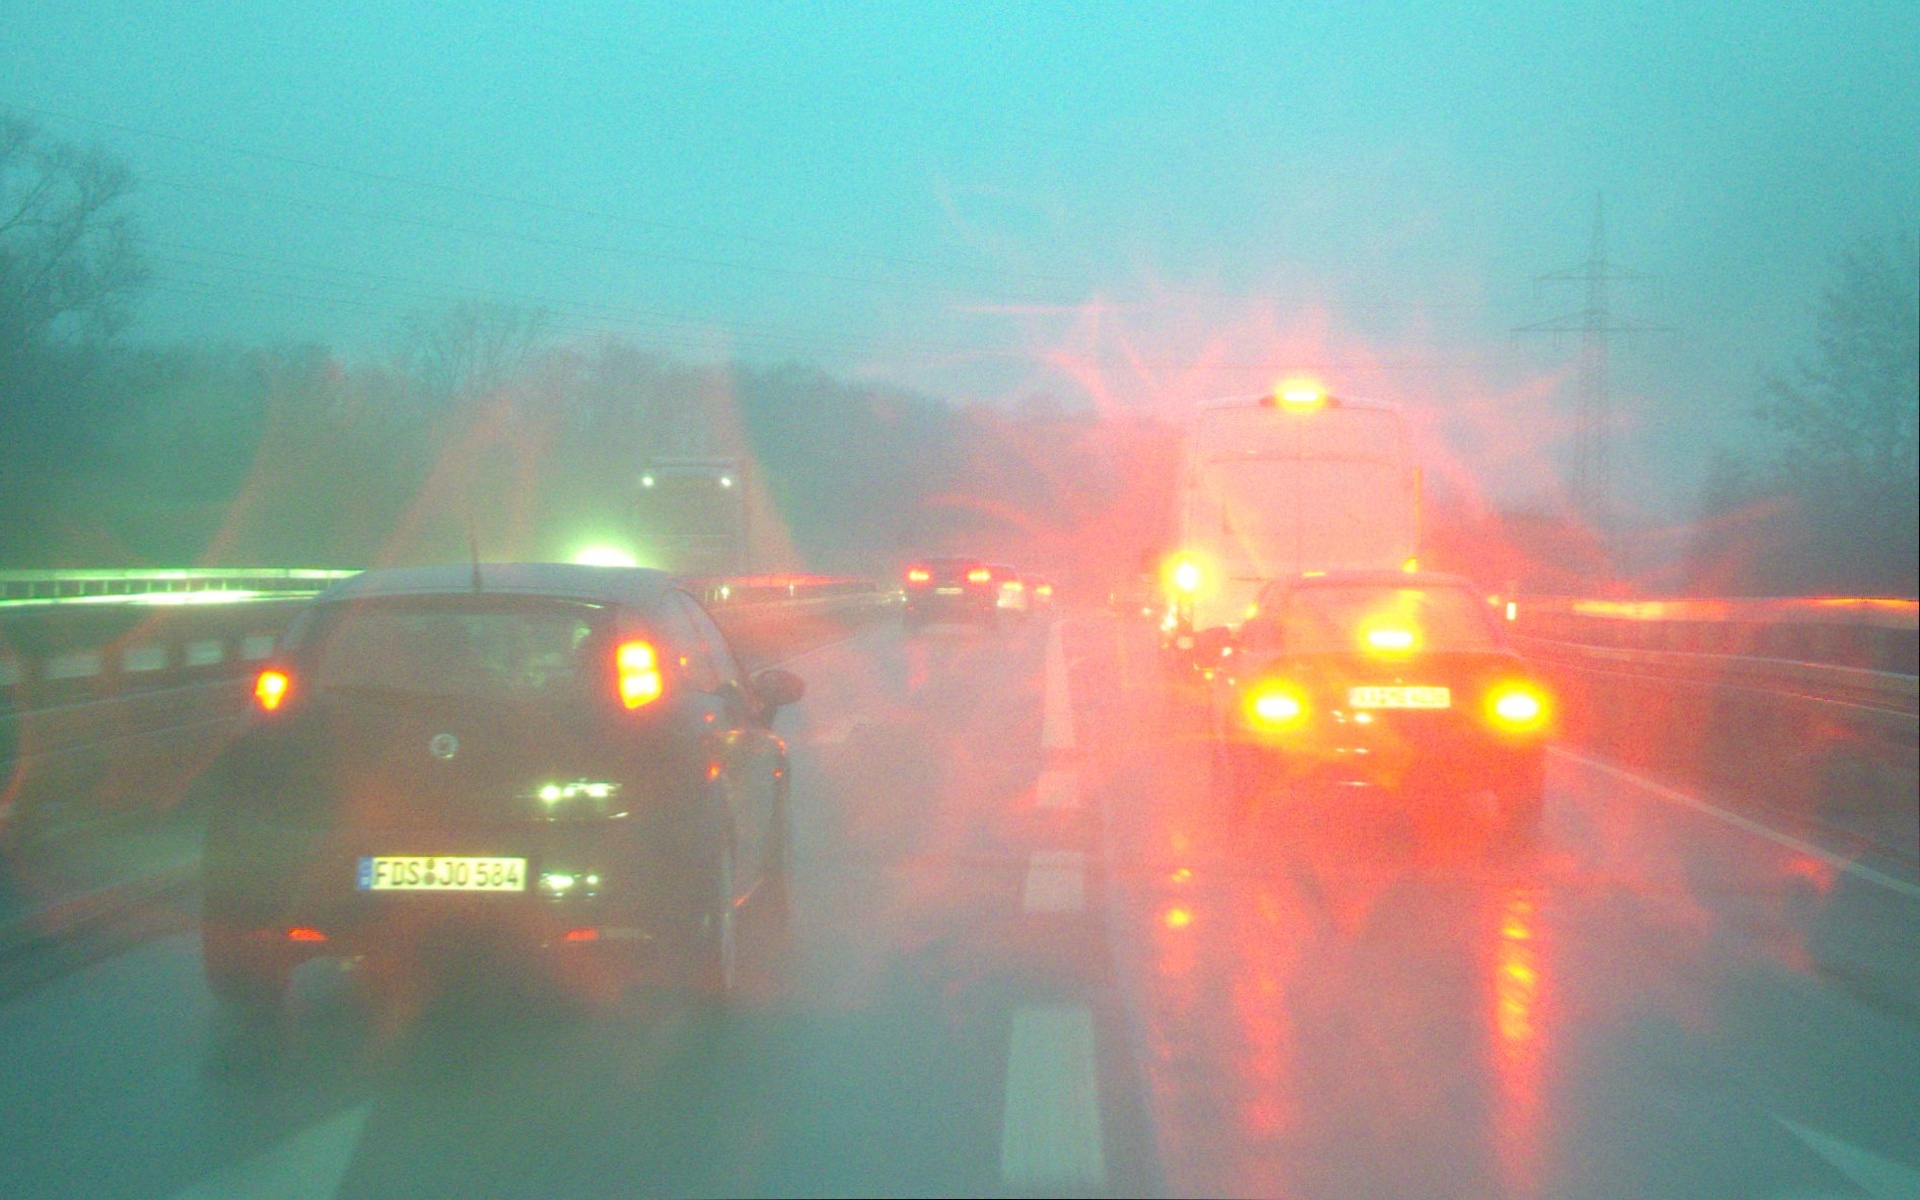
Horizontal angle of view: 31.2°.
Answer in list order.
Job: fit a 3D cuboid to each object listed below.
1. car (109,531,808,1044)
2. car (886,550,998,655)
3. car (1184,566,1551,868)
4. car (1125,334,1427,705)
[{"bbox_3d":[-1.596,0.565,12.318,1.730,1.527,4.042,0,0,3],"label":"car"},{"bbox_3d":[-0.333,0.021,65.995,1.993,1.808,4.000,3,2,0],"label":"car"},{"bbox_3d":[2.211,0.572,19.662,1.736,1.409,4.377,3,1,3],"label":"car"},{"bbox_3d":[2.672,-0.659,30.652,2.282,2.956,6.390,0,0,2],"label":"car"}]
